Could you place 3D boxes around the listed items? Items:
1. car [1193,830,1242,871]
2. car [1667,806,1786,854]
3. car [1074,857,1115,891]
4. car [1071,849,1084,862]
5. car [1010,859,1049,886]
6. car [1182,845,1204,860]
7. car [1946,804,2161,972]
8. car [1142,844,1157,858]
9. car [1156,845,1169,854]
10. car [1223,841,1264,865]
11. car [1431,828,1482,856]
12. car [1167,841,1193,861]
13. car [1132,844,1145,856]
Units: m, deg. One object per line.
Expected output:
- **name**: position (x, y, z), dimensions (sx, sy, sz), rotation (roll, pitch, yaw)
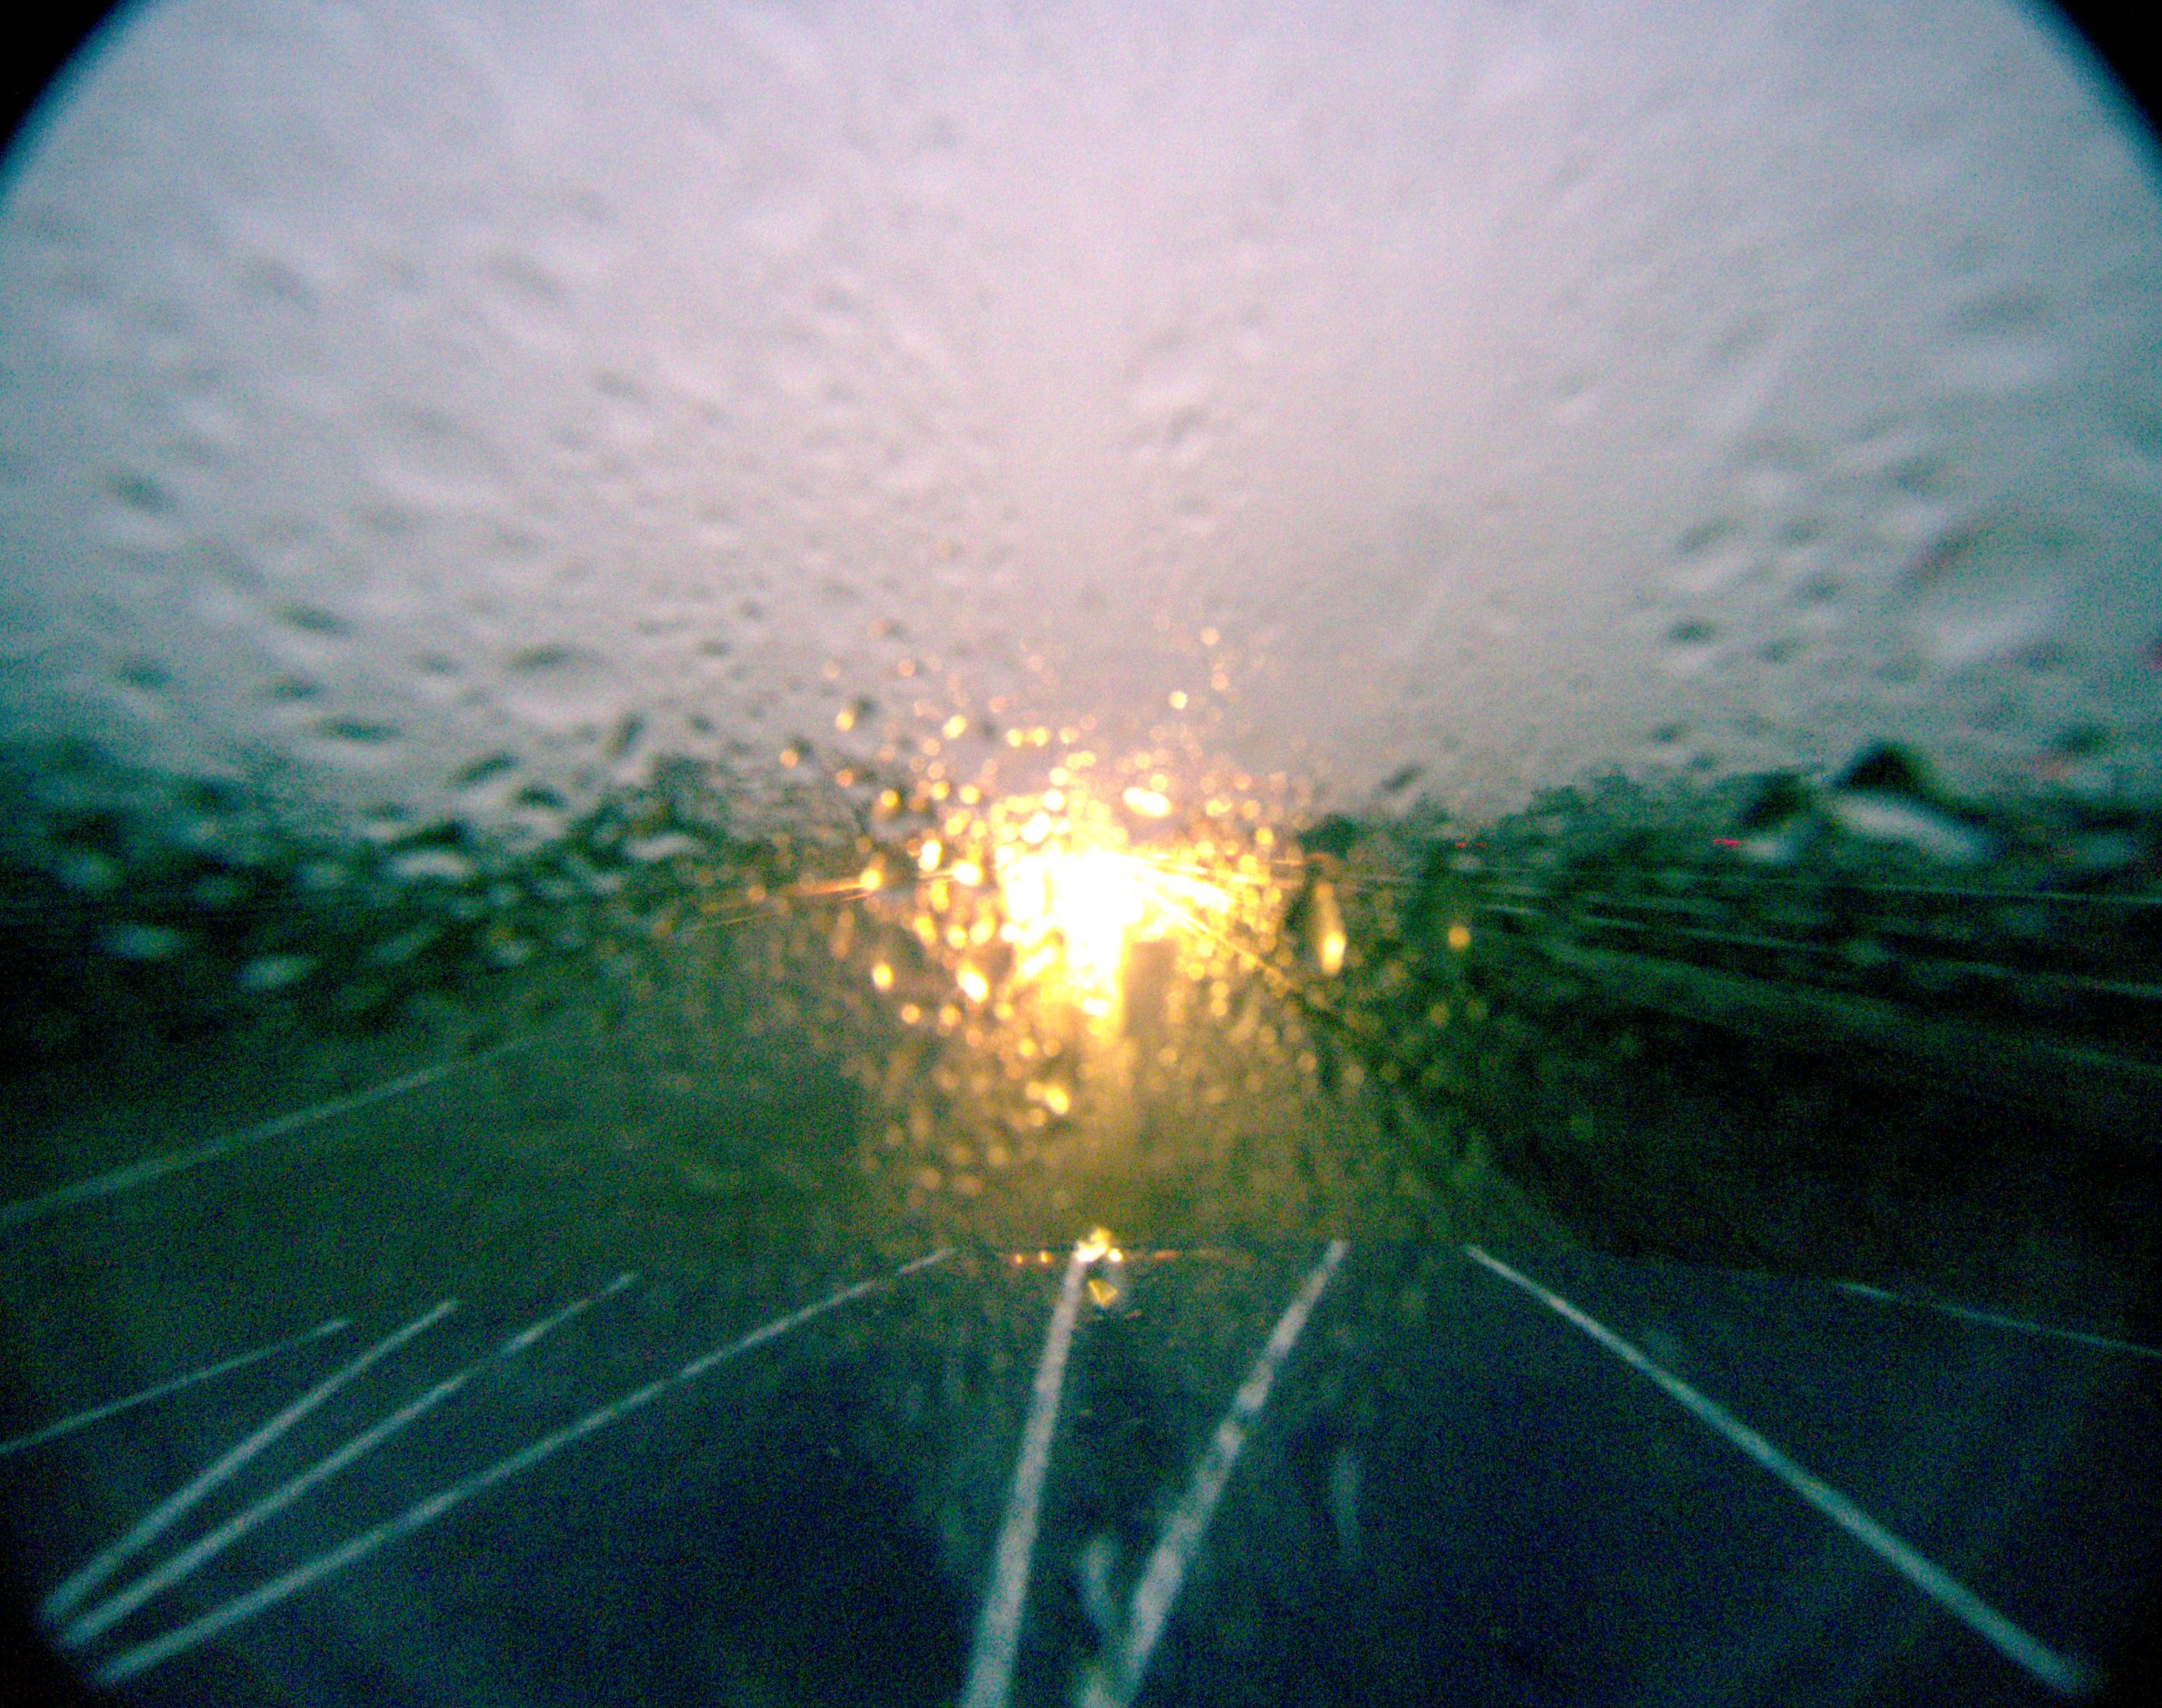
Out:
- **car**: position (8.002, -0.218, 44.960), dimensions (1.998, 2.202, 5.053), rotation (-2, 1, 2)
- **car**: position (29.143, -1.018, 34.489), dimensions (1.998, 2.002, 4.000), rotation (-1, 0, 1)
- **car**: position (0.683, 0.927, 36.421), dimensions (1.850, 1.521, 4.149), rotation (-1, 0, 2)
- **car**: position (-0.601, 0.237, 129.669), dimensions (1.998, 2.002, 4.000), rotation (-2, 1, 1)
- **car**: position (-3.015, 1.064, 45.397), dimensions (1.850, 1.521, 4.149), rotation (-1, 0, 3)
- **car**: position (12.392, -0.151, 84.392), dimensions (1.973, 1.515, 4.199), rotation (-2, 0, 2)
- **car**: position (11.400, 0.307, 6.942), dimensions (1.840, 1.626, 4.545), rotation (-1, 0, 1)
- **car**: position (10.206, -0.451, 113.600), dimensions (1.969, 2.041, 4.373), rotation (-2, 0, 2)
- **car**: position (14.813, -0.719, 138.516), dimensions (1.860, 1.557, 3.922), rotation (-1, 0, 1)
- **car**: position (11.941, -0.097, 56.099), dimensions (1.998, 1.587, 4.656), rotation (-2, 1, 1)
- **car**: position (29.091, -0.898, 59.070), dimensions (1.998, 2.002, 4.000), rotation (-2, 1, 1)
- **car**: position (9.115, -0.258, 70.219), dimensions (1.998, 1.718, 4.000), rotation (-2, 1, 2)
- **car**: position (10.650, -0.764, 140.430), dimensions (2.086, 2.135, 4.461), rotation (-2, 0, 1)
